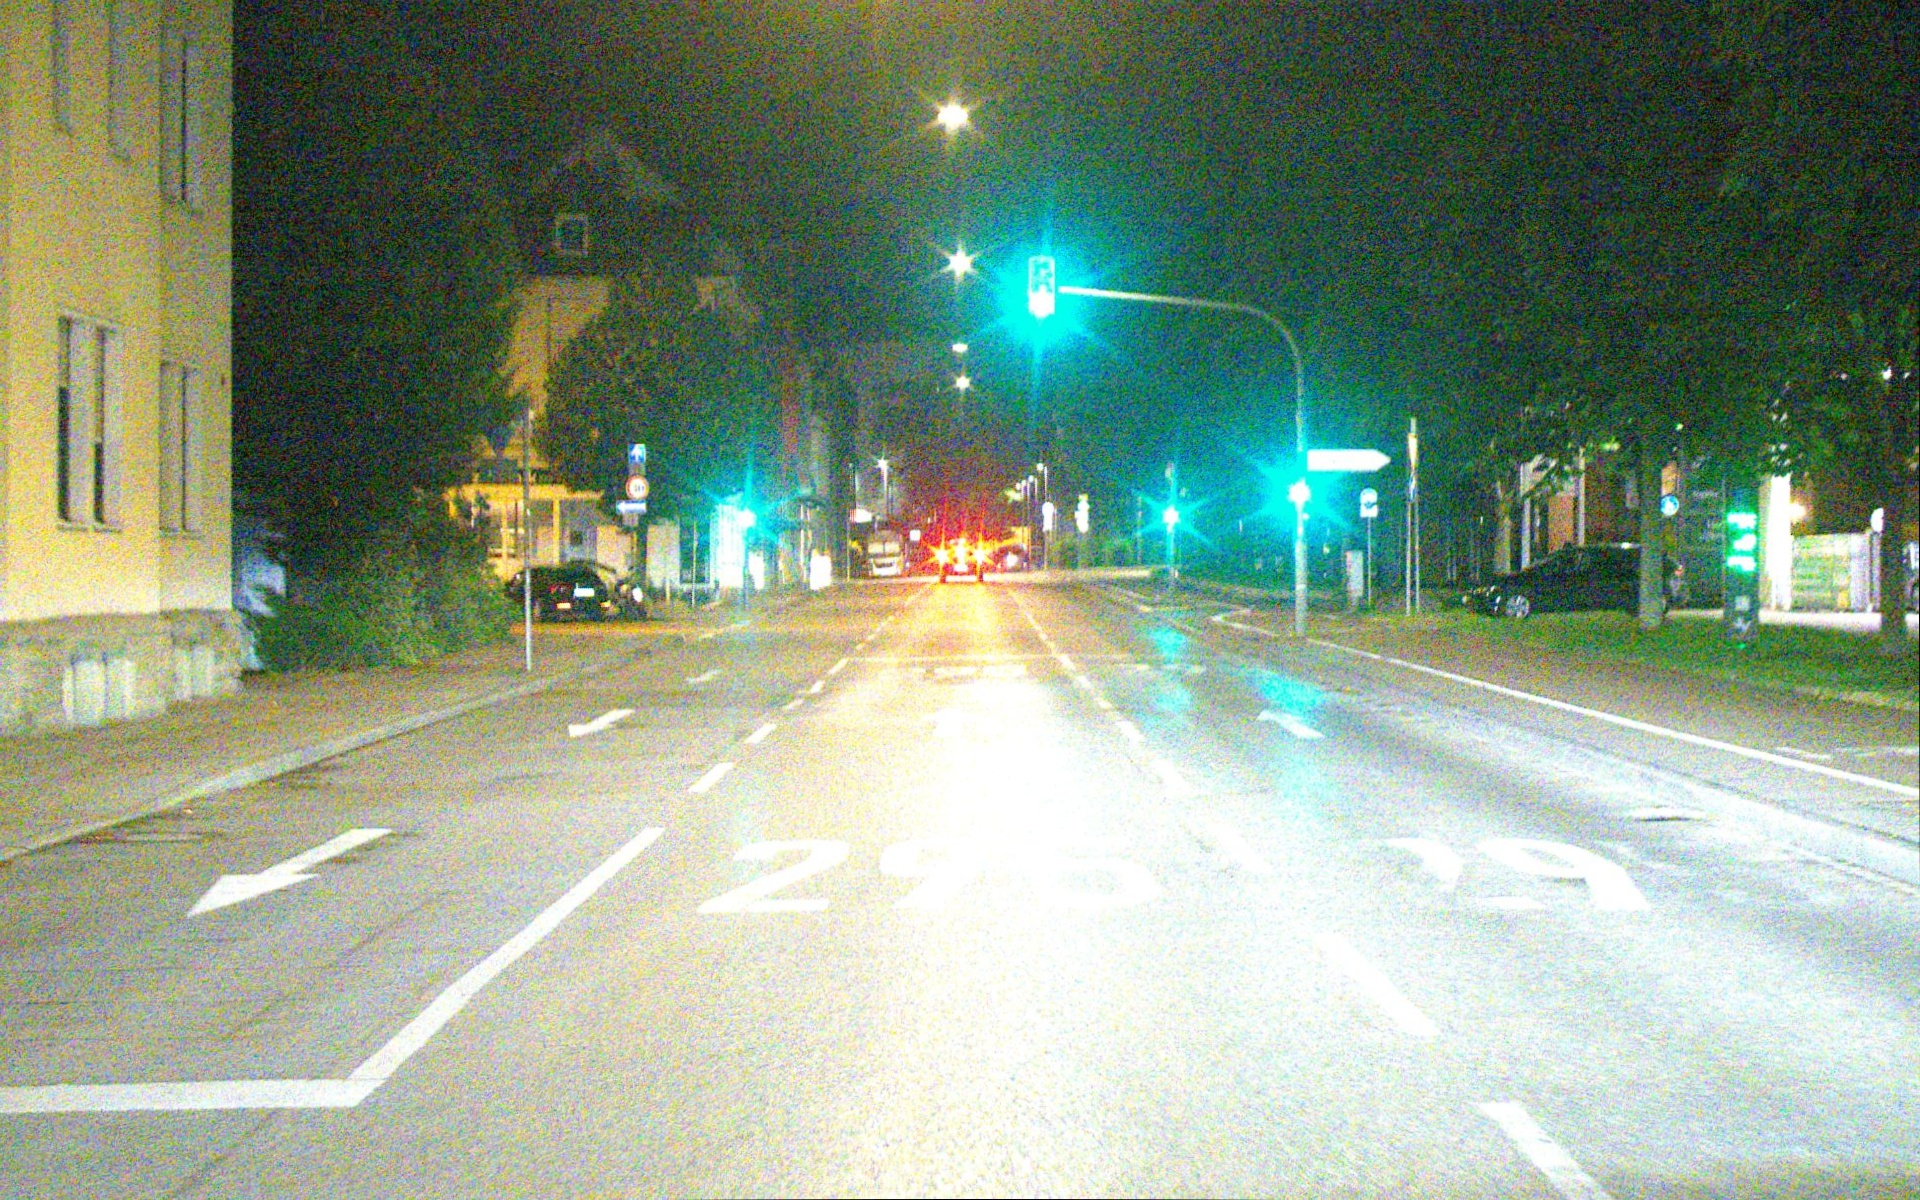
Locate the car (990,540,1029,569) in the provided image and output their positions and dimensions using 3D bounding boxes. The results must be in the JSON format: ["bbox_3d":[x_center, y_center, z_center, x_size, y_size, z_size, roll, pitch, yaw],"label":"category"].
[{"bbox_3d":[2.774,-2.555,193.804,1.993,1.590,4.000,0,1,-2],"label":"car"}]

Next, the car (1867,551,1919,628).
[{"bbox_3d":[19.278,-0.221,68.108,1.573,1.482,3.831,0,1,-1],"label":"car"}]

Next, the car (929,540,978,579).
[{"bbox_3d":[-0.295,-1.716,146.496,1.993,1.634,4.000,1,0,-2],"label":"car"}]

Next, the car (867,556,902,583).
[{"bbox_3d":[-3.945,-1.593,179.387,1.777,1.385,4.000,0,1,-2],"label":"car"}]

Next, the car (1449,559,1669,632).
[{"bbox_3d":[11.555,-0.094,66.484,3.987,1.382,1.771,0,0,3],"label":"car"}]

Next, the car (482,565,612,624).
[{"bbox_3d":[-10.606,-0.150,88.155,1.803,1.481,4.000,-1,1,-31],"label":"car"}]

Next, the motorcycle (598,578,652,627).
[{"bbox_3d":[-8.337,0.055,85.478,0.781,1.200,2.450,-1,1,-18],"label":"motorcycle"}]
